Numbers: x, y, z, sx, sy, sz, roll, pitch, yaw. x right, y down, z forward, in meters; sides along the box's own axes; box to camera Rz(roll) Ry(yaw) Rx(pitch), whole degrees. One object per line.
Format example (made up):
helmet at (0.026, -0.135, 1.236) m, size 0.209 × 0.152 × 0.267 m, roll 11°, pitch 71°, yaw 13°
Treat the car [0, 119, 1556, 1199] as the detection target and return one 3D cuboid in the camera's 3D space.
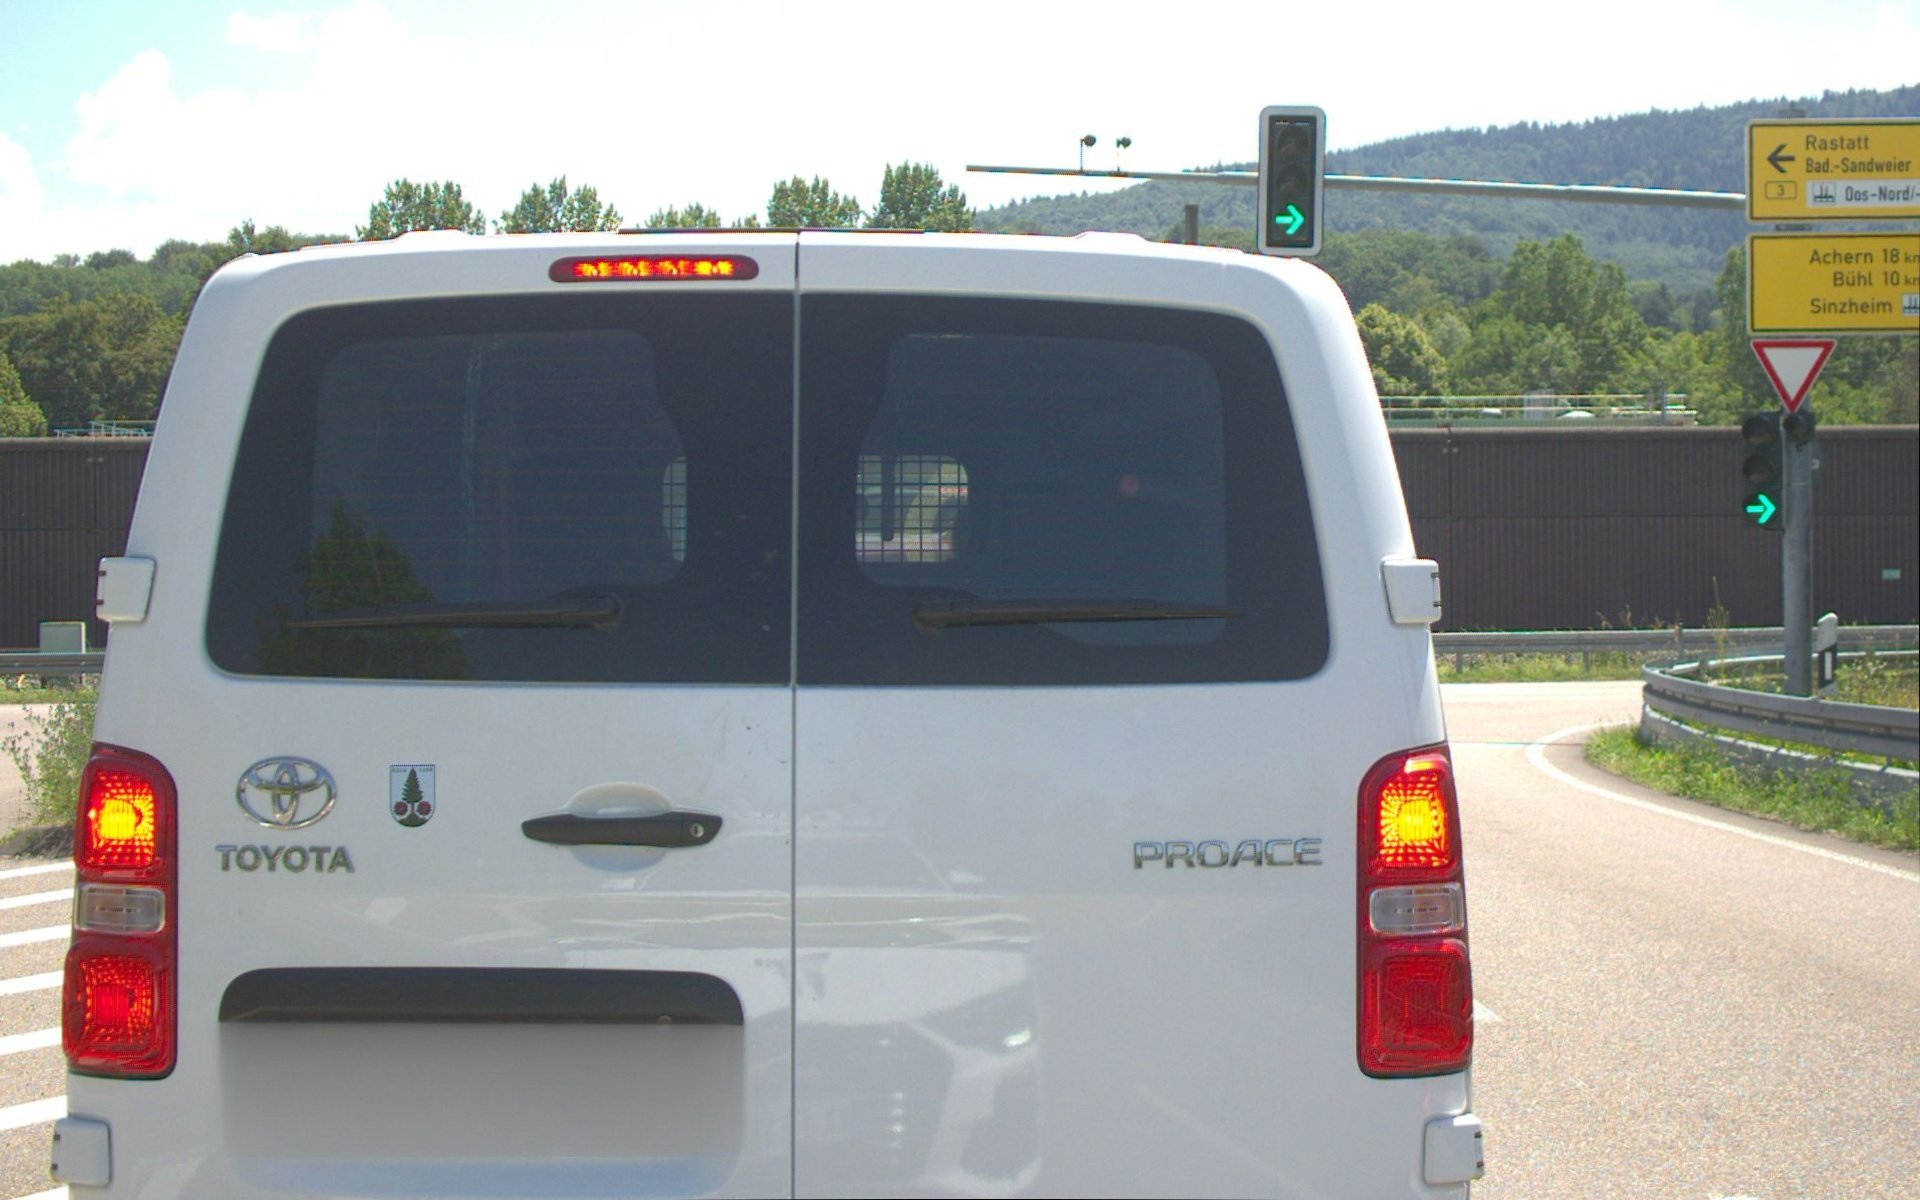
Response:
car at (-0.252, 0.439, 5.934) m, size 1.814 × 2.011 × 4.000 m, roll 0°, pitch 1°, yaw -1°
